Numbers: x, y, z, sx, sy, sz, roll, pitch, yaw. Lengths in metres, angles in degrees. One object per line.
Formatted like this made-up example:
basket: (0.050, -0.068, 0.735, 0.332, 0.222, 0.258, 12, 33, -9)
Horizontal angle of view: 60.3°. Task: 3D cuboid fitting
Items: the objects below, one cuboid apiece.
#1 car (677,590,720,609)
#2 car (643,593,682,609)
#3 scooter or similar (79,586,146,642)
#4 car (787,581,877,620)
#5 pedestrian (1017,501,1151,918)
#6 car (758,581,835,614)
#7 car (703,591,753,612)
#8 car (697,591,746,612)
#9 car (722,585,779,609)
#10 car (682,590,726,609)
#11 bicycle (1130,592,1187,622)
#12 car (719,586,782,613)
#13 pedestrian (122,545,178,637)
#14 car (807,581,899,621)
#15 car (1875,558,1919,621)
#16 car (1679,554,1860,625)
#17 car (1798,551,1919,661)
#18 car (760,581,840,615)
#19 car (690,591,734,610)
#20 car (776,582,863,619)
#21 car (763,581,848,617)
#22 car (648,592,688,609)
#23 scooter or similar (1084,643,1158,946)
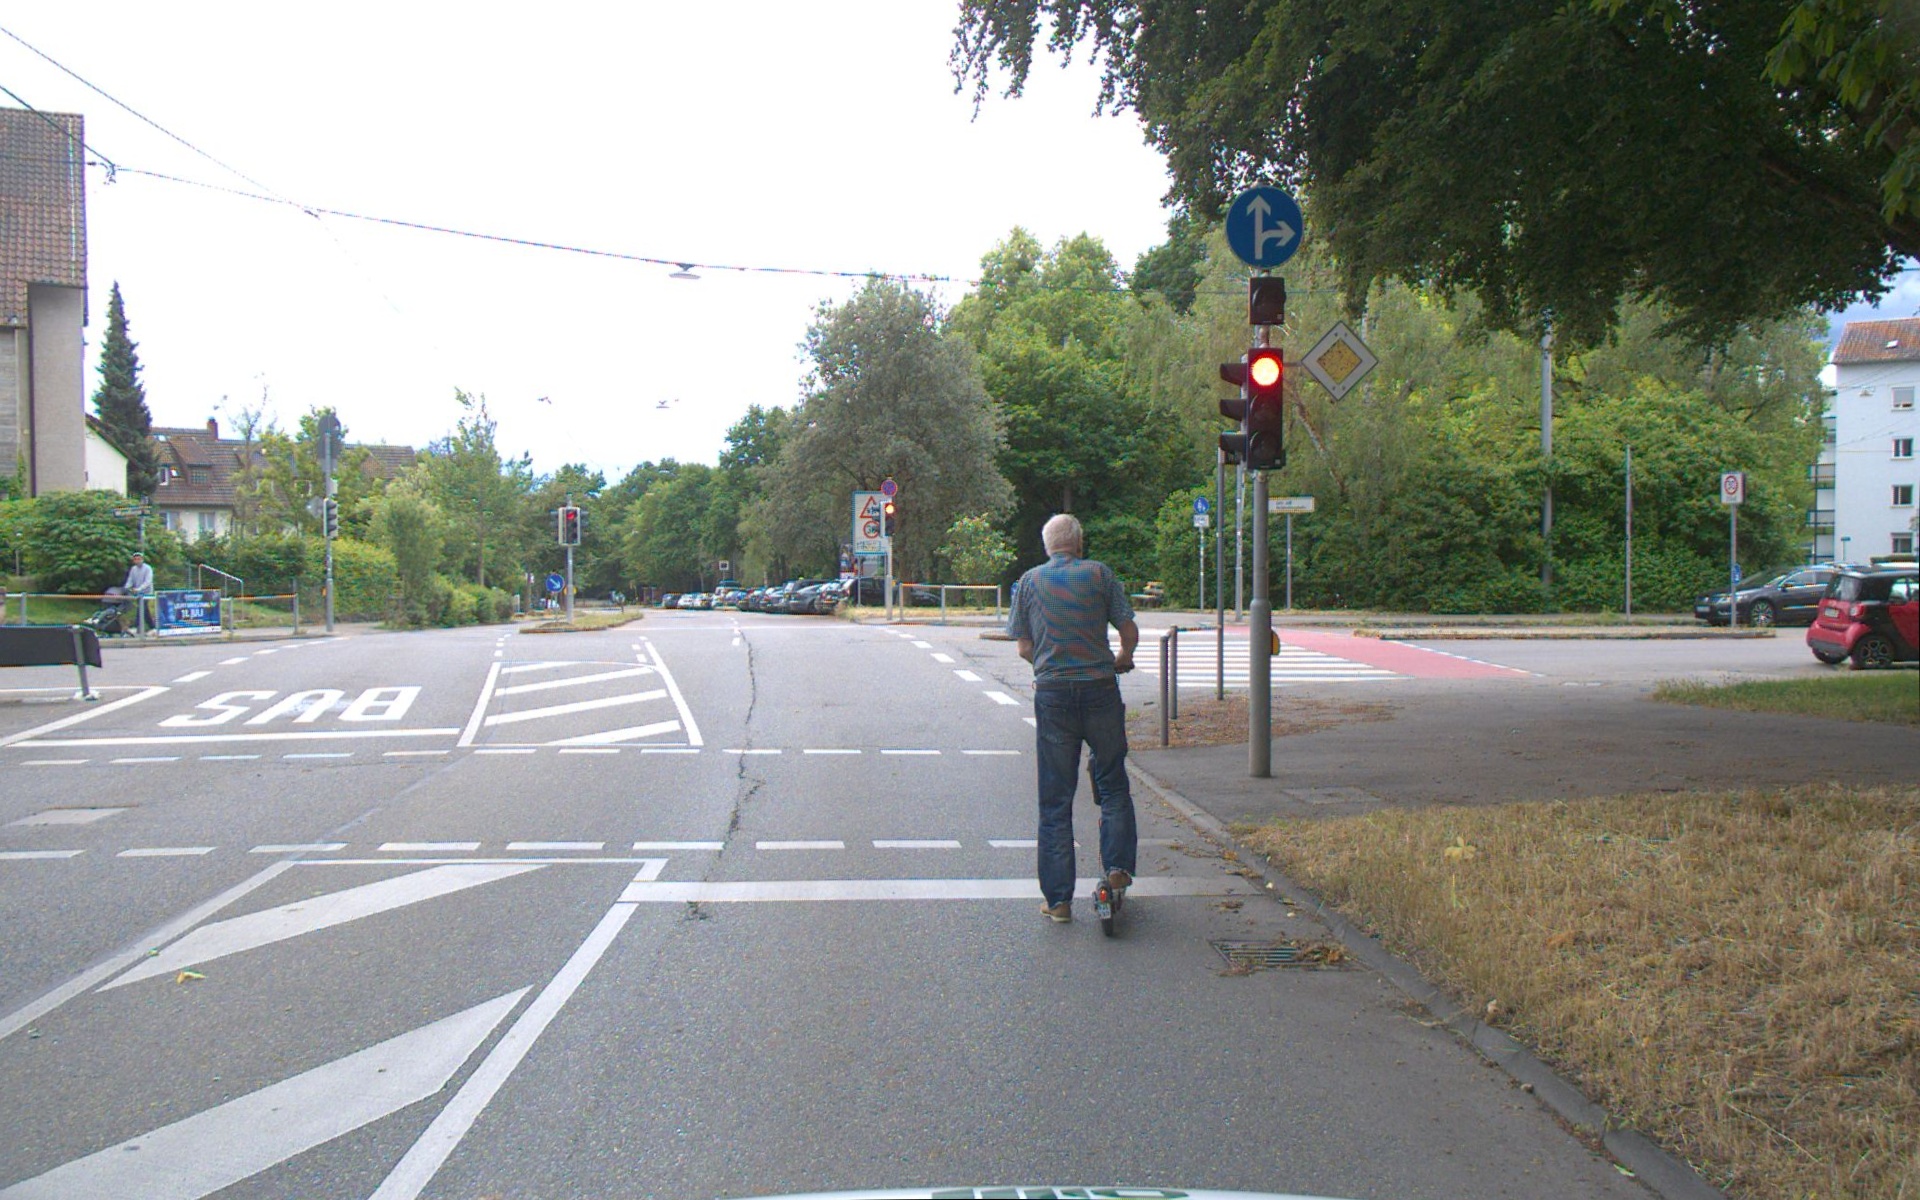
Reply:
car: (-25.045, -0.062, 158.388, 3.790, 1.639, 1.716, -2, 1, -24)
car: (-31.925, 0.103, 177.480, 3.790, 1.639, 1.716, -2, 1, -24)
scooter or similar: (-17.208, 0.271, 33.588, 0.564, 1.100, 1.112, -1, 1, 19)
car: (-5.926, 0.018, 76.664, 3.792, 1.639, 1.715, -2, 1, -25)
pedestrian: (0.572, 0.486, 7.563, 0.560, 1.845, 0.421, -1, 0, 7)
car: (-8.798, -0.129, 88.924, 3.790, 1.639, 1.716, -2, 1, -24)
car: (-19.452, 0.142, 138.789, 3.790, 1.639, 1.716, -2, 1, -24)
car: (-20.546, 0.110, 142.448, 3.790, 1.639, 1.716, -2, 1, -24)
car: (-15.432, -0.205, 121.654, 3.790, 1.639, 1.716, -2, 1, -24)
car: (-24.114, -0.035, 155.831, 3.790, 1.639, 1.716, -2, 1, -24)
bicycle: (6.924, 0.239, 57.691, 1.885, 0.975, 0.493, 2, 0, -11)
car: (-13.776, -0.070, 108.711, 3.790, 1.639, 1.716, -2, 1, -24)
pedestrian: (-16.898, -0.185, 34.524, 0.560, 1.895, 0.887, -1, 0, 20)
car: (-4.841, 0.024, 74.710, 3.787, 1.639, 1.717, -2, 1, -22)
car: (26.407, -0.334, 45.814, 1.689, 1.639, 3.850, -1, 1, 27)
car: (19.156, -0.260, 39.234, 3.444, 1.557, 1.729, -2, 1, 5)
car: (15.258, 0.048, 25.832, 3.444, 1.639, 1.729, -2, 1, 4)
car: (-8.359, -0.116, 86.518, 3.790, 1.639, 1.716, -2, 1, -24)
car: (-23.054, 0.037, 153.714, 3.790, 1.639, 1.716, -2, 1, -24)
car: (-6.720, 0.000, 79.194, 3.790, 1.639, 1.716, -2, 1, -24)
car: (-7.571, -0.054, 81.216, 3.790, 1.639, 1.716, -2, 1, -24)
car: (-30.916, 0.043, 175.158, 3.790, 1.639, 1.716, -2, 1, -24)
scooter or similar: (0.734, 0.816, 7.390, 0.276, 1.199, 1.178, -1, 1, 7)
